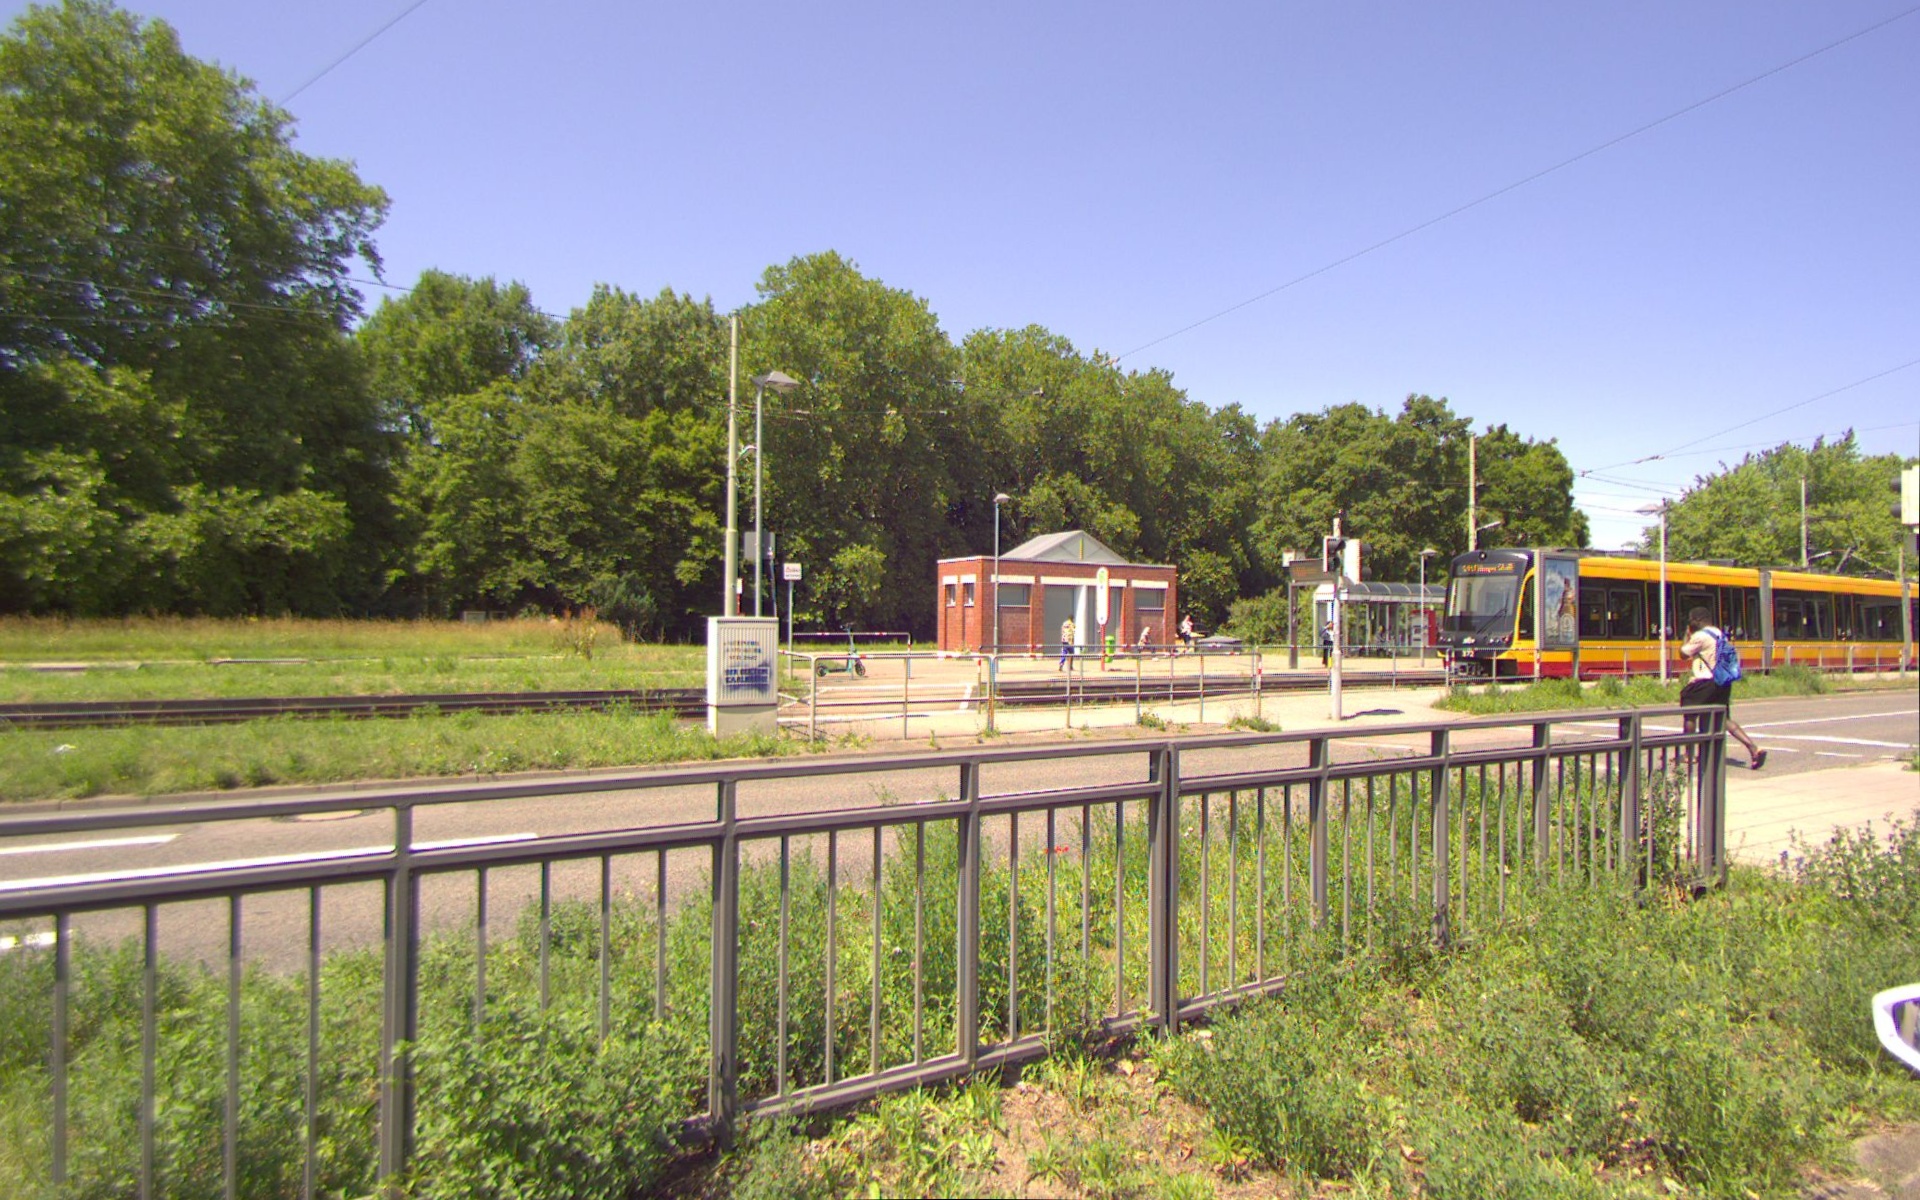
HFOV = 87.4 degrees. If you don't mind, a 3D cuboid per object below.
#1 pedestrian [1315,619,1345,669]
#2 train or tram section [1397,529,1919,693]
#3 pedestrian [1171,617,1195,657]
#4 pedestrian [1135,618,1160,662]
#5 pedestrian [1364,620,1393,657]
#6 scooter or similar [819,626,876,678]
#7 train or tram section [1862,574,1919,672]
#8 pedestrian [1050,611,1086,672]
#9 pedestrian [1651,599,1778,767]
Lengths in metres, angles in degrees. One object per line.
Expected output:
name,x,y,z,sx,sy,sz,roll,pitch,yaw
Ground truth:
pedestrian,11.927,1.402,32.380,0.688,1.575,0.629,1,-1,-42
train or tram section,24.794,0.579,32.181,29.680,3.799,2.944,1,-1,-31
pedestrian,8.254,1.358,37.195,0.574,1.476,0.638,1,-1,-21
pedestrian,6.565,1.393,35.148,0.563,1.499,0.636,1,-1,-30
pedestrian,17.247,1.578,41.374,0.710,1.531,0.841,1,-1,-19
scooter or similar,-2.635,1.209,23.451,1.217,1.183,0.508,1,-1,-30
train or tram section,51.570,1.255,48.016,32.699,3.840,2.917,1,-1,-31
pedestrian,2.948,1.118,27.332,0.663,1.611,0.805,0,-1,36
pedestrian,8.565,0.924,11.421,0.711,1.801,0.836,-1,-3,-30
